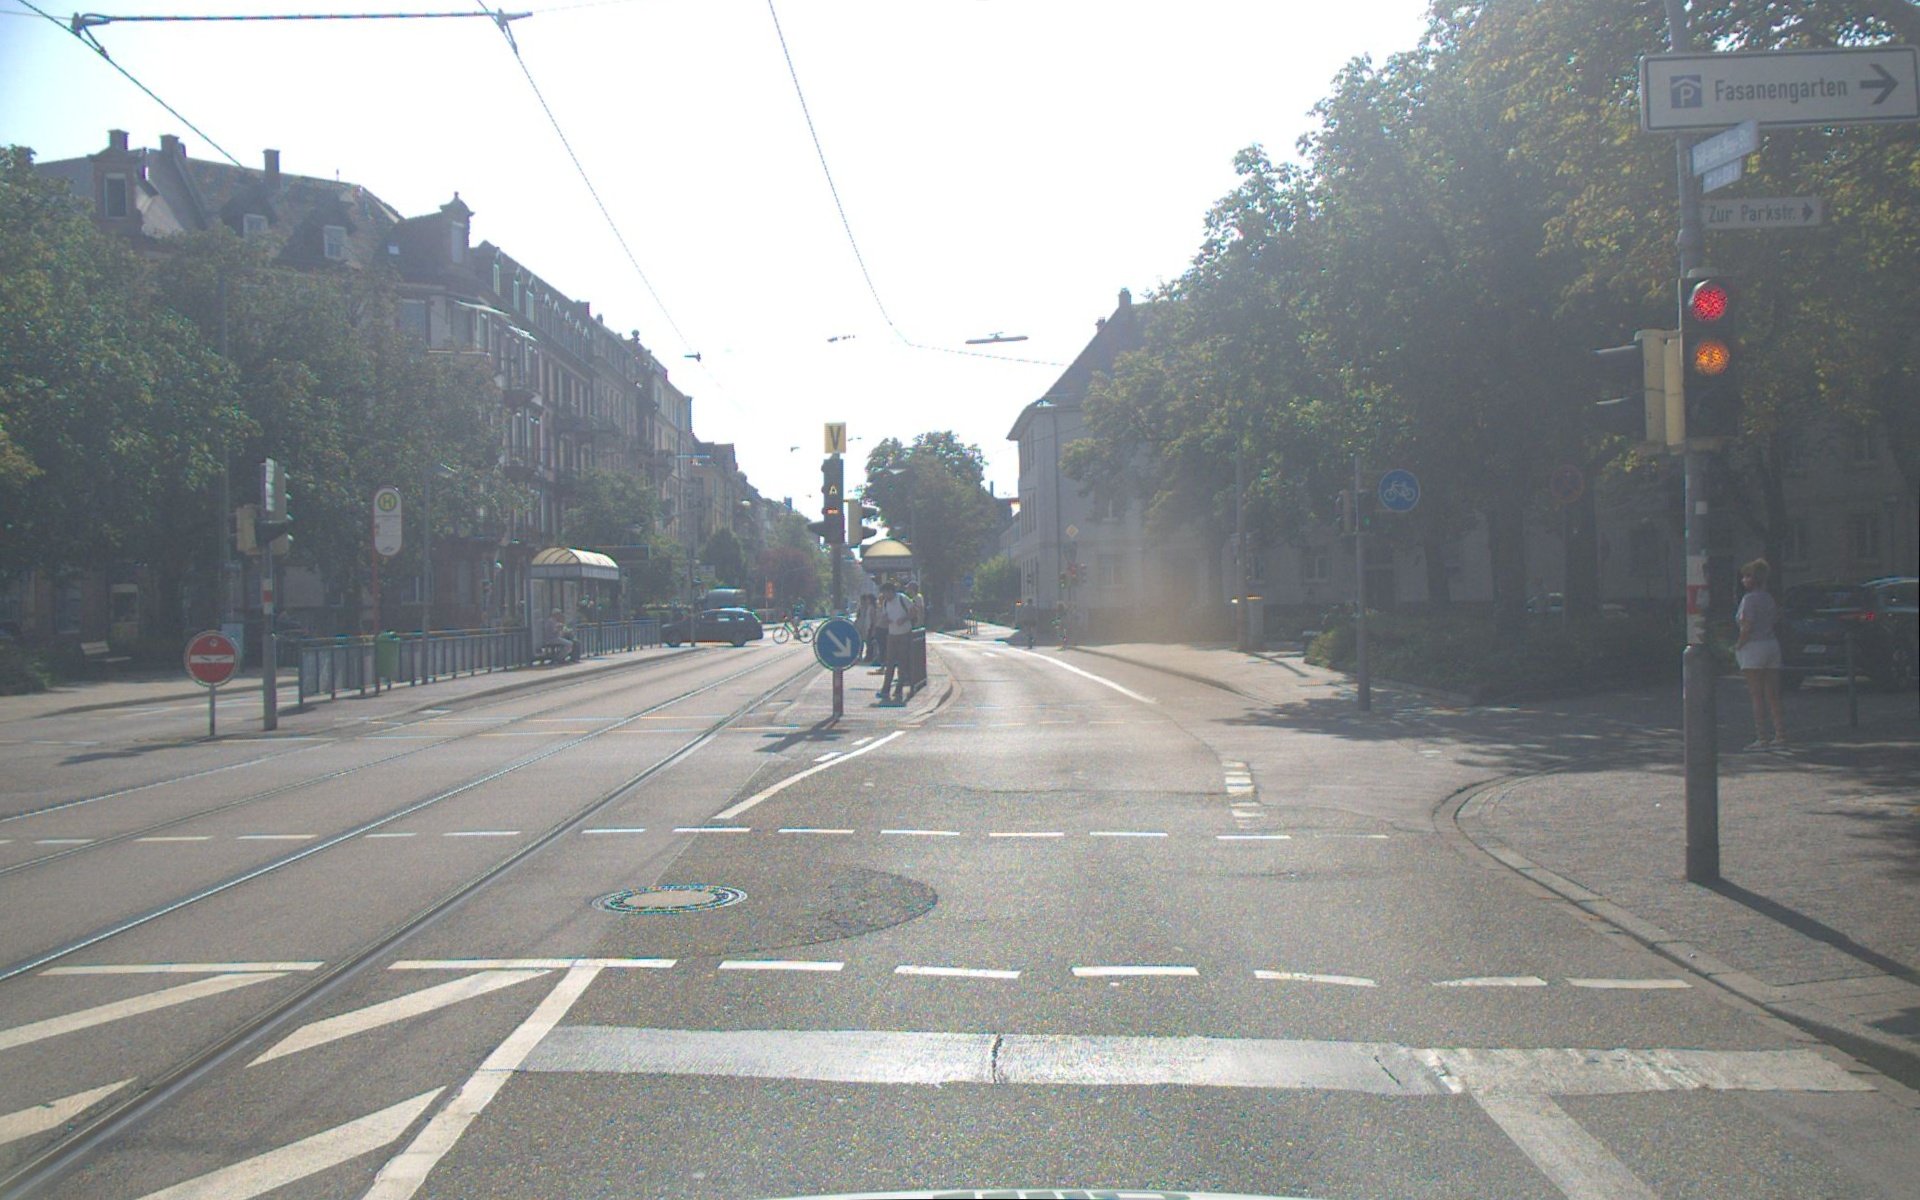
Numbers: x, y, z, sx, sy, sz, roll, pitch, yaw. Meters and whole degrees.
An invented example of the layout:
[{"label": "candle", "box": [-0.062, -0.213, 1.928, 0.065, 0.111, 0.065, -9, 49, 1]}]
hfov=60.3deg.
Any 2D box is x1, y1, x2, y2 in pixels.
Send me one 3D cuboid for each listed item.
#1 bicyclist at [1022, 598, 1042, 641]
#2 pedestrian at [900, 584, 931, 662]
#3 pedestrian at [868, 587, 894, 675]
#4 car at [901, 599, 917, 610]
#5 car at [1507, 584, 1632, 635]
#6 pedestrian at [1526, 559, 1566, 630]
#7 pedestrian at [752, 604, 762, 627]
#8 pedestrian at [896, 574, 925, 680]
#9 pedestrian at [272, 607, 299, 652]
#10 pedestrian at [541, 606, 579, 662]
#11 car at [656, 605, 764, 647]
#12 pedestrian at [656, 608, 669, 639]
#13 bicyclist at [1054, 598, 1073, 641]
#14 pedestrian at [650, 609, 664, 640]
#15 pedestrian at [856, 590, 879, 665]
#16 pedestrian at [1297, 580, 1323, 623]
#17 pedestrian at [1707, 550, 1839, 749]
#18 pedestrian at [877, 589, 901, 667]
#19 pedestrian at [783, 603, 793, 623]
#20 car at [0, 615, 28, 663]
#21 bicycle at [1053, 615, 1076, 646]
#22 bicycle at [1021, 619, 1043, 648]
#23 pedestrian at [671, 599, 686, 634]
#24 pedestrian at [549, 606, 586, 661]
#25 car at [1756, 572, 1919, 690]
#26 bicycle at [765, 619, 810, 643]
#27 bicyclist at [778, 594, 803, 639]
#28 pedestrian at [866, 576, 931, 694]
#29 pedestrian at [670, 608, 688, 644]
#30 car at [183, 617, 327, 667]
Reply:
[{"label": "bicyclist", "box": [2.587, 0.693, 59.623, 0.616, 1.534, 0.678, -1, 0, -3]}, {"label": "pedestrian", "box": [-1.036, 0.529, 38.665, 0.694, 1.790, 0.534, 1, 2, -2]}, {"label": "pedestrian", "box": [-1.642, 0.635, 34.452, 0.494, 1.790, 0.534, 1, 2, -1]}, {"label": "car", "box": [-7.880, 0.699, 257.242, 1.951, 1.814, 4.002, 0, 0, 5]}, {"label": "car", "box": [18.658, 0.294, 50.792, 1.721, 1.453, 4.135, -2, 0, -10]}, {"label": "pedestrian", "box": [14.896, -0.143, 42.060, 0.872, 1.771, 0.776, -1, 0, 18]}, {"label": "pedestrian", "box": [-16.023, 1.237, 130.699, 0.736, 1.761, 0.769, -1, 0, -10]}, {"label": "pedestrian", "box": [-0.888, 0.482, 29.768, 0.494, 1.866, 0.534, 1, 2, -1]}, {"label": "pedestrian", "box": [-26.855, 1.184, 65.838, 0.764, 1.761, 0.741, -1, -1, -40]}, {"label": "pedestrian", "box": [-10.122, 0.857, 41.899, 0.812, 1.382, 0.775, -1, 0, -6]}, {"label": "car", "box": [-10.271, 1.047, 67.900, 4.246, 1.596, 1.994, -1, 0, -12]}, {"label": "pedestrian", "box": [-17.388, 1.382, 96.754, 0.736, 1.761, 0.769, -1, 0, -10]}, {"label": "bicyclist", "box": [3.566, 0.664, 56.992, 0.547, 1.441, 0.871, -1, 0, -3]}, {"label": "pedestrian", "box": [-17.171, 1.376, 93.814, 0.736, 1.761, 0.769, -1, 0, -10]}, {"label": "pedestrian", "box": [-2.273, 0.669, 40.673, 0.521, 1.790, 0.545, 1, 2, 0]}, {"label": "pedestrian", "box": [14.905, 0.064, 70.425, 0.875, 1.771, 0.774, -2, 0, 31]}, {"label": "pedestrian", "box": [7.443, 0.441, 15.165, 0.736, 1.761, 0.769, -1, 0, -10]}, {"label": "pedestrian", "box": [-1.689, 0.659, 39.269, 0.532, 1.790, 0.534, 1, 2, -1]}, {"label": "pedestrian", "box": [-15.033, 1.160, 144.656, 0.736, 1.761, 0.769, -1, 0, -10]}, {"label": "car", "box": [-34.574, 1.382, 56.666, 4.230, 1.596, 2.002, -1, 0, 8]}, {"label": "bicycle", "box": [3.582, 1.041, 56.976, 0.547, 0.995, 1.855, -2, 0, -3]}, {"label": "bicycle", "box": [2.593, 1.192, 59.623, 0.616, 0.995, 1.769, -2, 0, -3]}, {"label": "pedestrian", "box": [-14.440, 0.837, 84.875, 0.736, 1.761, 0.769, -1, 0, -10]}, {"label": "pedestrian", "box": [-10.170, 0.863, 42.875, 0.812, 1.382, 0.775, -1, 0, -6]}, {"label": "car", "box": [13.512, 0.388, 24.412, 4.188, 1.541, 1.589, -2, 1, -40]}, {"label": "bicycle", "box": [-7.375, 1.330, 70.825, 1.898, 0.995, 0.496, -1, 0, -4]}, {"label": "bicyclist", "box": [-7.257, 0.692, 70.842, 0.967, 1.890, 0.492, -1, 0, -4]}, {"label": "pedestrian", "box": [-0.946, 0.516, 25.501, 0.687, 1.755, 0.746, 2, 2, 31]}, {"label": "pedestrian", "box": [-14.063, 1.279, 82.732, 0.734, 1.761, 0.771, -1, 0, 1]}, {"label": "car", "box": [-25.143, 1.471, 59.063, 4.302, 1.596, 1.968, -1, 0, -44]}]
